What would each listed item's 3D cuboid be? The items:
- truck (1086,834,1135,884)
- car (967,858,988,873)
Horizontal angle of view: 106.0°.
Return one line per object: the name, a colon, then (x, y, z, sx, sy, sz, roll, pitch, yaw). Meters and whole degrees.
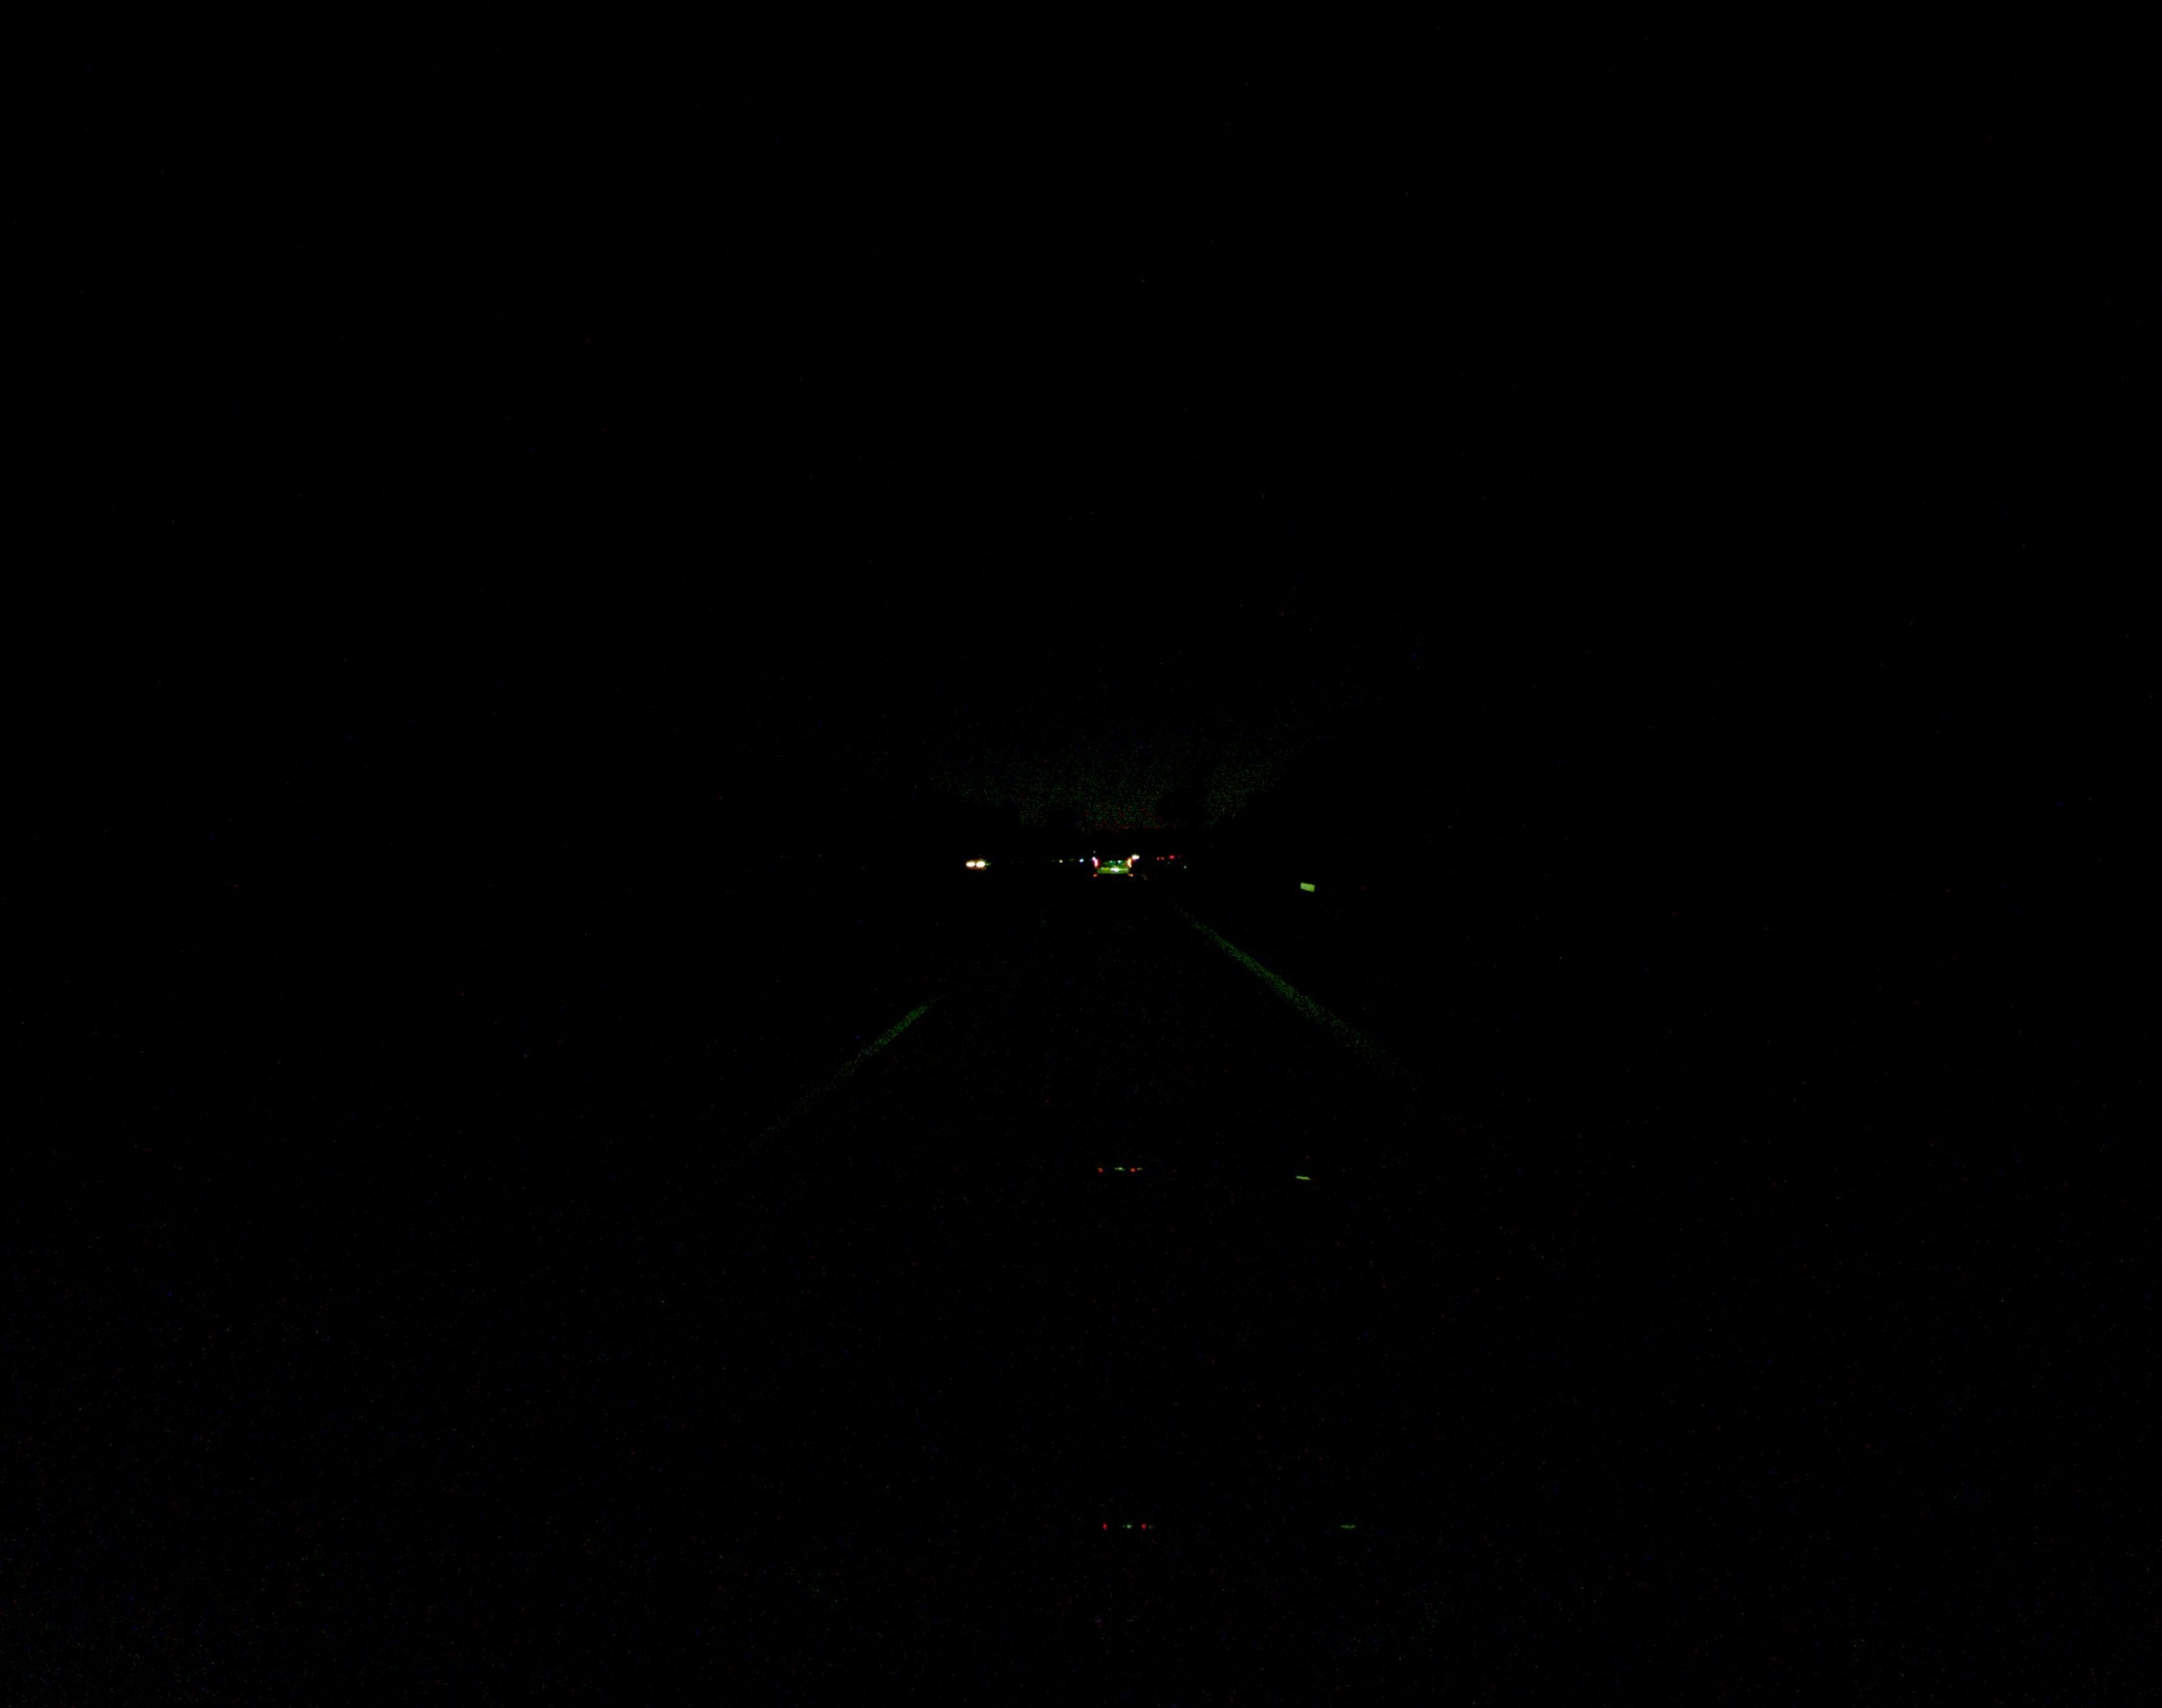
truck: (1.827, 0.341, 47.898, 2.619, 2.624, 8.691, -1, -1, 3)
car: (-13.084, 1.442, 102.950, 1.986, 1.786, 4.401, -1, -1, 2)
